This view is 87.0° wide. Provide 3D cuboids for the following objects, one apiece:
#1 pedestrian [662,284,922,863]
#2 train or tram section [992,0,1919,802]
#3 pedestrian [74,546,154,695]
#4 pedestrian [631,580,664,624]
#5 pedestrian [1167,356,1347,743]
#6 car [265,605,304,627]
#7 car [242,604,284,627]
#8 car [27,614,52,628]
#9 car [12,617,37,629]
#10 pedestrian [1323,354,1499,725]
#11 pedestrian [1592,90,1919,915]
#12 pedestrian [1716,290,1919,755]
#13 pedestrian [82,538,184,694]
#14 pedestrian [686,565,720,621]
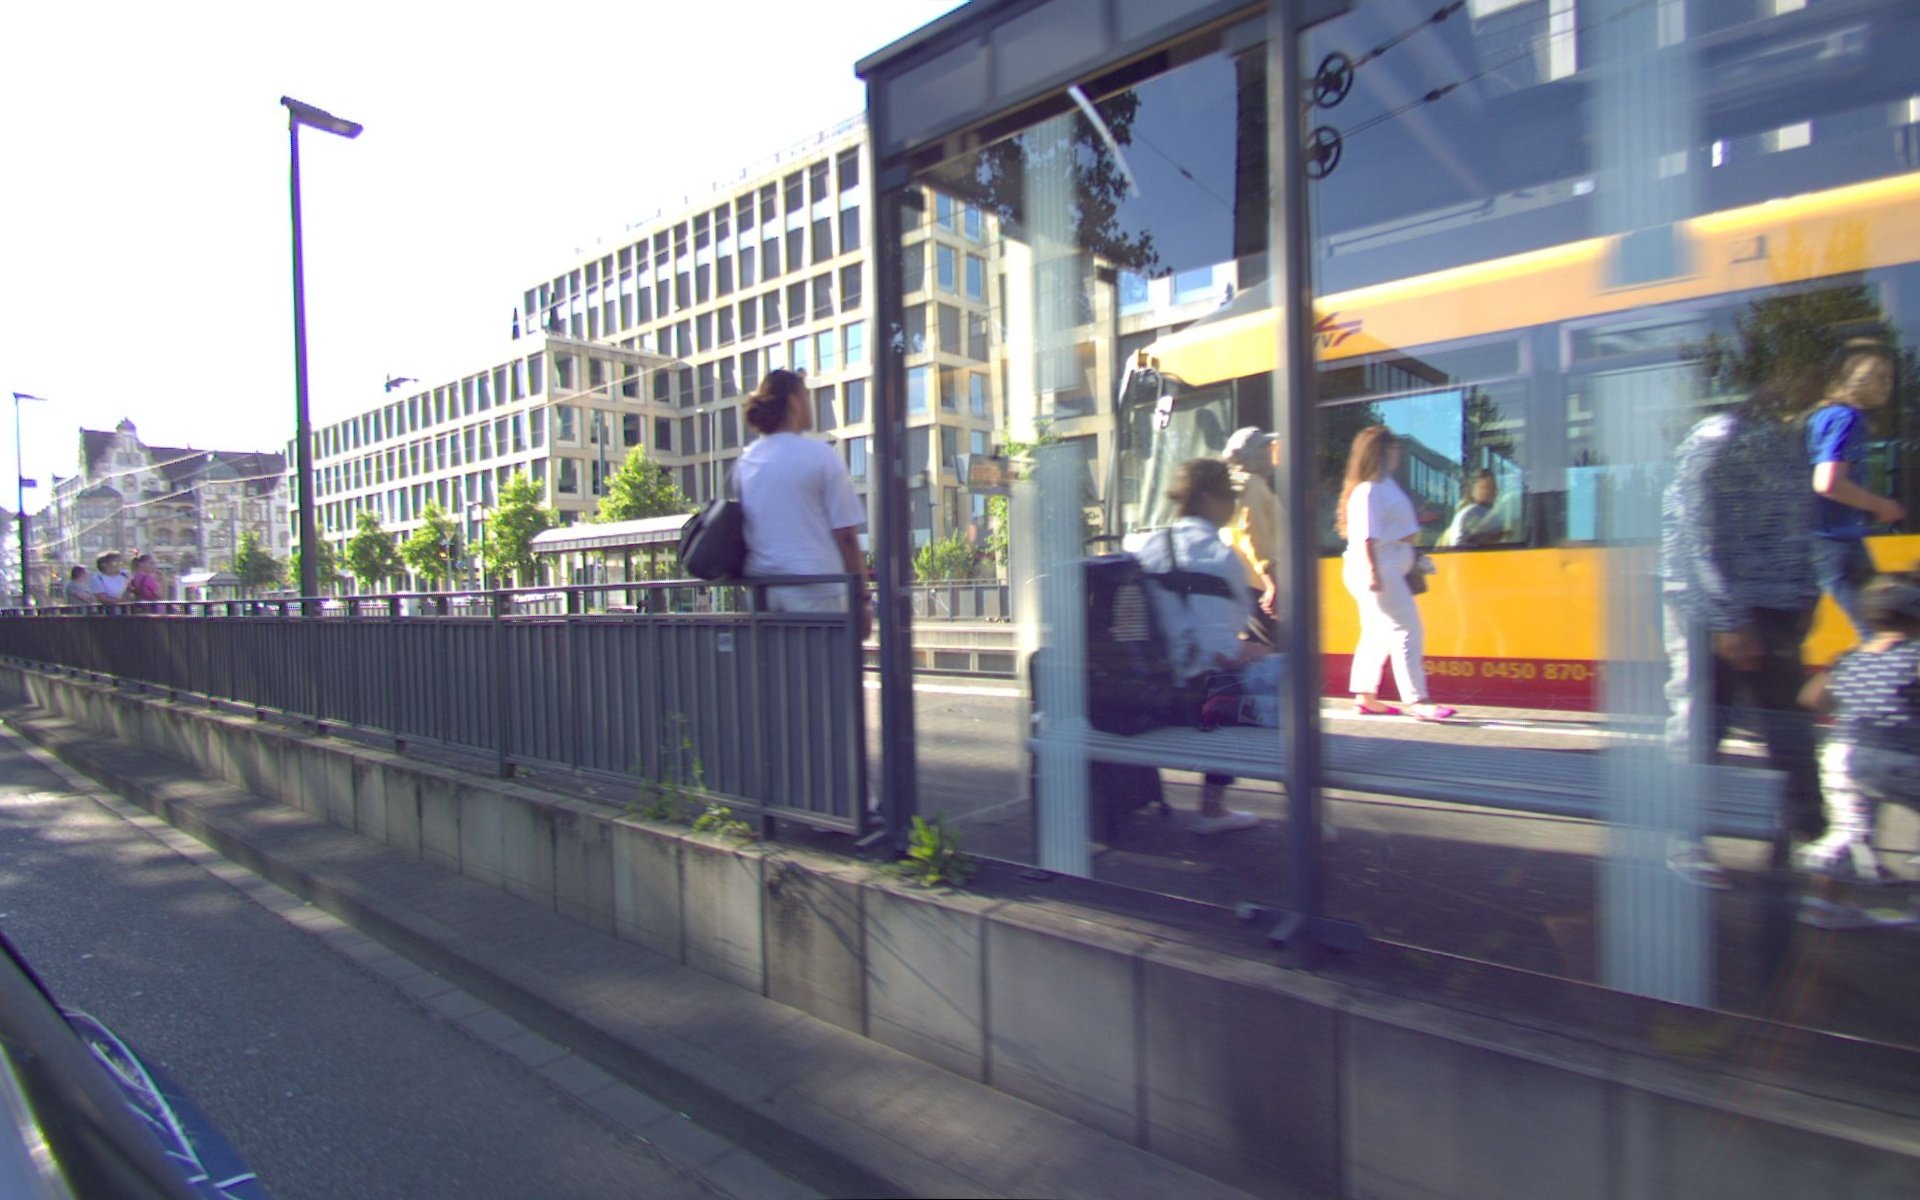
[{"bbox_3d":[-0.590,-0.086,3.572,0.613,1.797,0.605,-1,1,41],"label":"pedestrian"},{"bbox_3d":[6.730,-1.075,4.759,14.211,3.858,3.275,-1,1,41],"label":"train or tram section"},{"bbox_3d":[-9.848,0.225,11.782,0.613,1.681,0.605,-1,1,43],"label":"pedestrian"},{"bbox_3d":[-9.266,0.070,30.003,0.725,1.269,0.607,-1,1,45],"label":"pedestrian"},{"bbox_3d":[1.476,-0.242,5.154,0.640,1.797,0.795,-2,1,1],"label":"pedestrian"},{"bbox_3d":[-51.950,1.251,77.812,3.649,1.573,1.627,-1,1,42],"label":"car"},{"bbox_3d":[-56.412,1.255,81.883,3.998,1.782,1.898,-1,1,42],"label":"car"},{"bbox_3d":[-121.752,2.784,133.859,3.996,1.682,1.759,-1,1,39],"label":"car"},{"bbox_3d":[-129.970,3.174,140.634,3.992,1.536,1.722,-2,2,36],"label":"car"},{"bbox_3d":[2.415,-0.299,5.399,0.625,1.797,0.785,-1,1,41],"label":"pedestrian"},{"bbox_3d":[2.099,-0.211,2.608,0.681,1.797,0.603,-1,1,41],"label":"pedestrian"},{"bbox_3d":[3.742,-0.302,4.302,0.775,1.797,0.605,-1,1,41],"label":"pedestrian"},{"bbox_3d":[-9.088,0.168,11.134,0.609,1.654,0.609,-1,1,22],"label":"pedestrian"},{"bbox_3d":[-7.200,-0.203,28.351,0.607,1.539,0.725,-2,1,-41],"label":"pedestrian"}]
